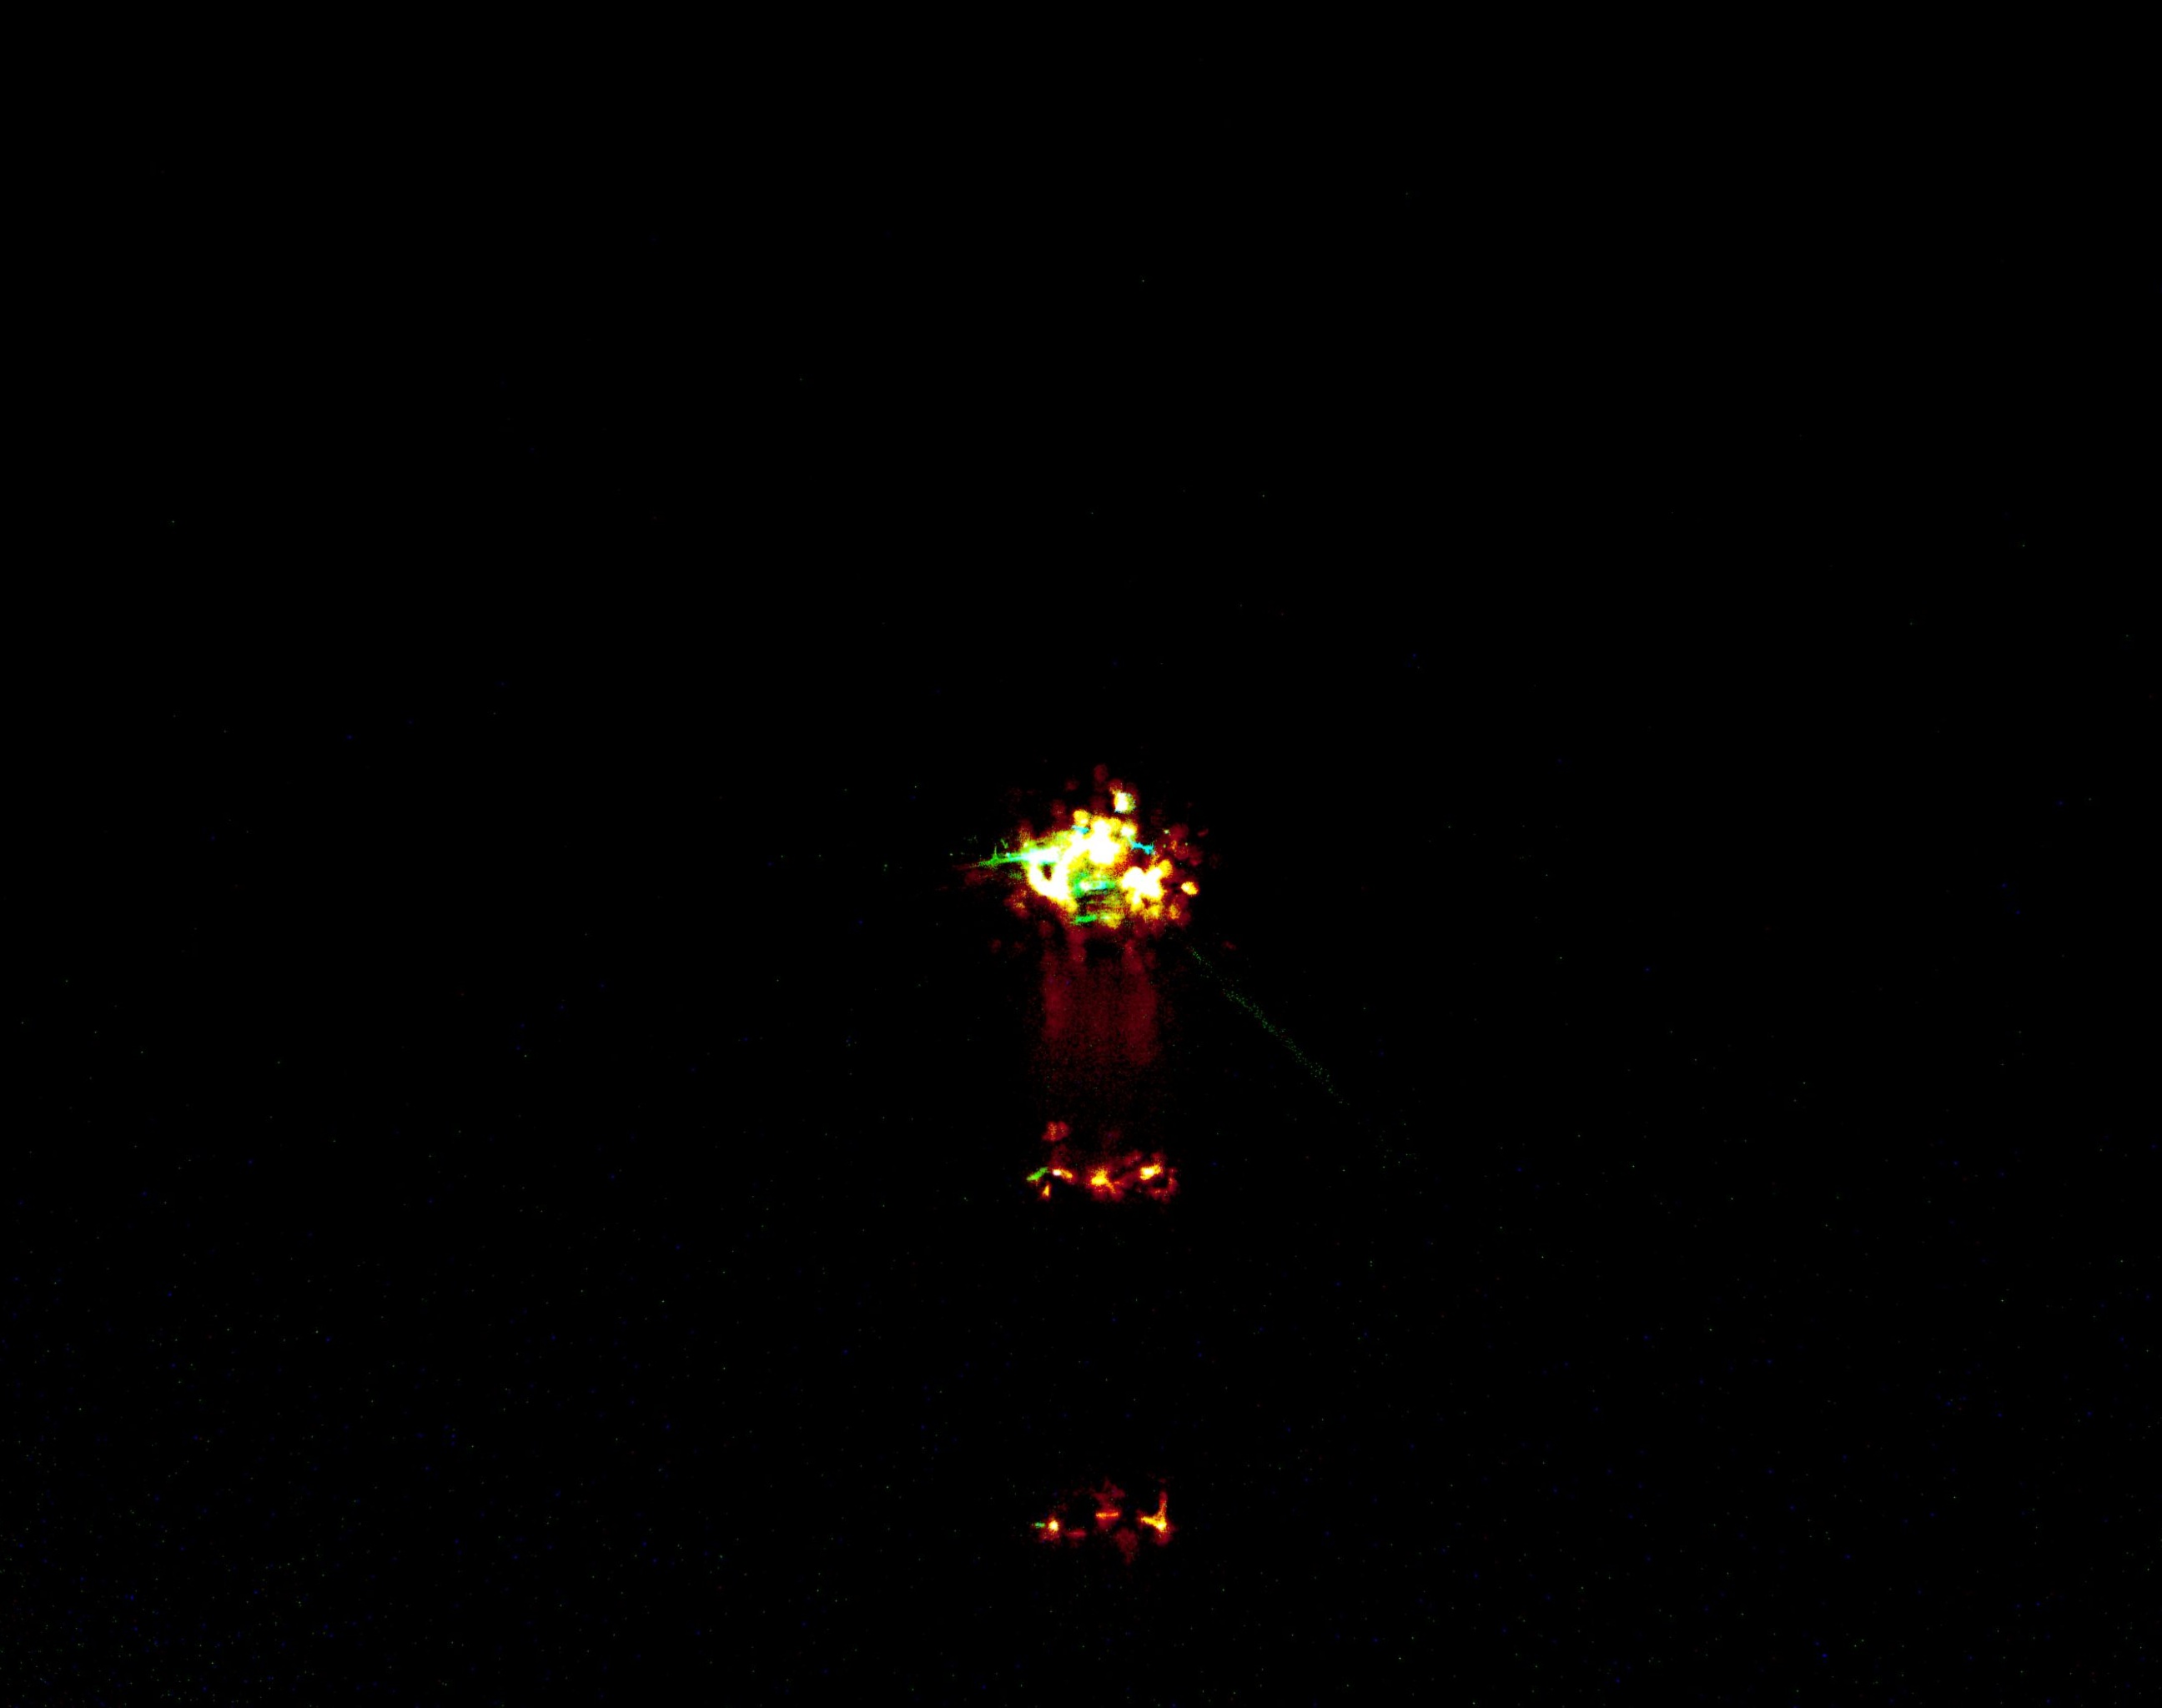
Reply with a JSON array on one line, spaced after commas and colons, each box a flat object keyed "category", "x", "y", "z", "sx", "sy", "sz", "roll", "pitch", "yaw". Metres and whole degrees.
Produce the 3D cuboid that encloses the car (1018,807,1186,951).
[{"category": "car", "x": 0.365, "y": 0.403, "z": 16.193, "sx": 2.706, "sy": 2.307, "sz": 6.100, "roll": 0, "pitch": 0, "yaw": 0}]
